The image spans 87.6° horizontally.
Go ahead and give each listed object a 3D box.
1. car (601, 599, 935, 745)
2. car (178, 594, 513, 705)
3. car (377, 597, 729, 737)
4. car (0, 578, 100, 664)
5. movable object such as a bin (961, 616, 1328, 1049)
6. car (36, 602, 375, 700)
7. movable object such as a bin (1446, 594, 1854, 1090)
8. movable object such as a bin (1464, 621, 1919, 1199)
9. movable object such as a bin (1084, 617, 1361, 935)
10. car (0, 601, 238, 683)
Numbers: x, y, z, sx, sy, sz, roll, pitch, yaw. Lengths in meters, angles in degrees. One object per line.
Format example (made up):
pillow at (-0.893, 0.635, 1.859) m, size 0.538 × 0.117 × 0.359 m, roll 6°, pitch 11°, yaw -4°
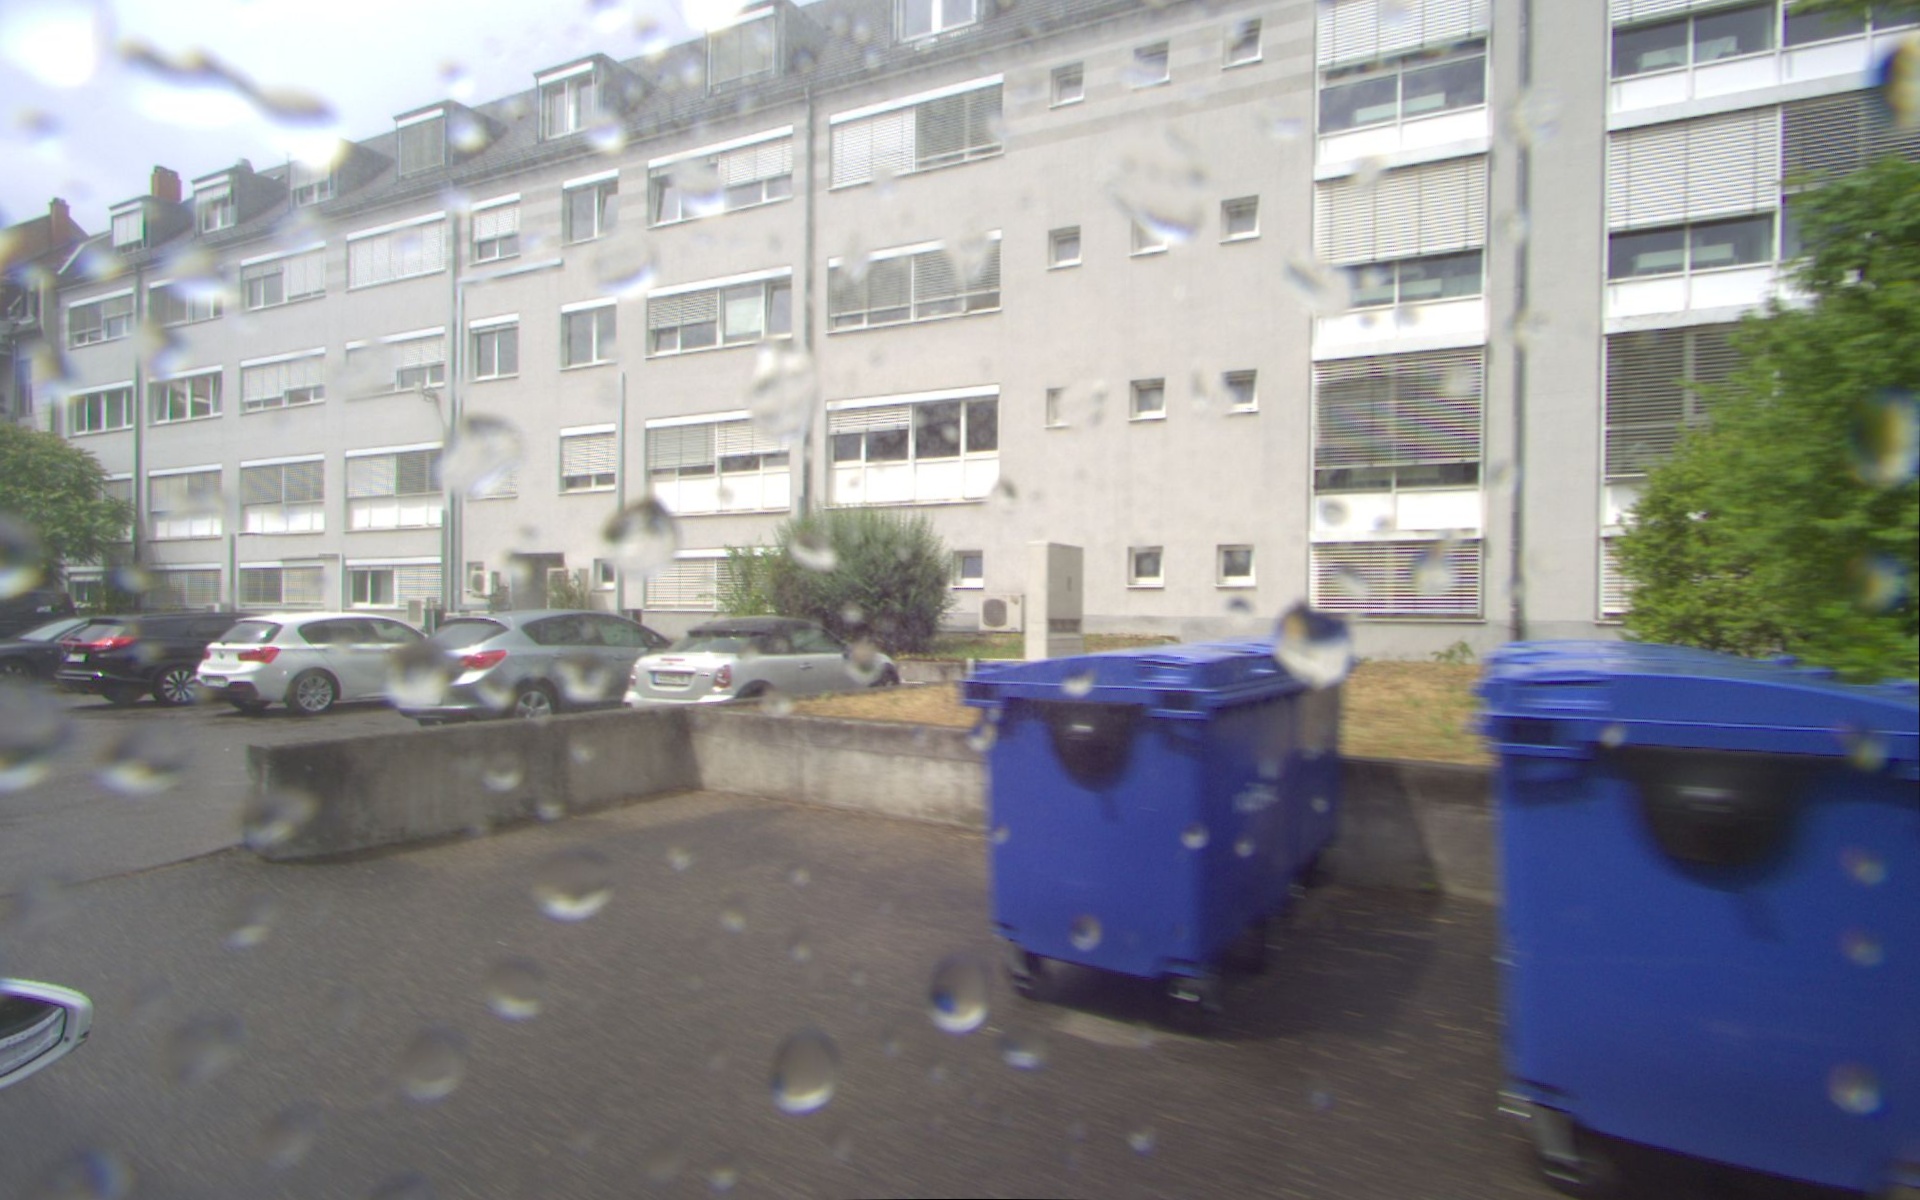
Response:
car at (-2.101, 0.713, 12.066) m, size 1.764 × 1.373 × 3.979 m, roll 1°, pitch 1°, yaw 31°
car at (-9.278, 0.656, 15.496) m, size 1.804 × 1.475 × 4.095 m, roll 1°, pitch 0°, yaw 27°
car at (-4.947, 0.732, 12.791) m, size 1.642 × 1.477 × 4.077 m, roll 0°, pitch 0°, yaw 28°
car at (-21.739, 0.442, 21.377) m, size 2.076 × 1.858 × 4.709 m, roll 1°, pitch 1°, yaw 25°
movable object such as a bin at (0.775, 0.750, 3.964) m, size 1.040 × 1.335 × 1.227 m, roll 2°, pitch 1°, yaw 31°
car at (-12.476, 0.749, 16.893) m, size 1.908 × 1.419 × 4.170 m, roll 0°, pitch 0°, yaw 25°
movable object such as a bin at (2.589, 0.772, 3.916) m, size 1.085 × 1.502 × 1.273 m, roll 2°, pitch -1°, yaw 31°
movable object such as a bin at (1.991, 0.758, 2.664) m, size 1.040 × 1.334 × 1.173 m, roll 2°, pitch -1°, yaw 31°
movable object such as a bin at (1.374, 0.773, 5.116) m, size 1.040 × 1.335 × 1.227 m, roll 2°, pitch 1°, yaw 31°
car at (-16.533, 0.735, 18.921) m, size 1.830 × 1.366 × 4.354 m, roll 1°, pitch 0°, yaw 25°
